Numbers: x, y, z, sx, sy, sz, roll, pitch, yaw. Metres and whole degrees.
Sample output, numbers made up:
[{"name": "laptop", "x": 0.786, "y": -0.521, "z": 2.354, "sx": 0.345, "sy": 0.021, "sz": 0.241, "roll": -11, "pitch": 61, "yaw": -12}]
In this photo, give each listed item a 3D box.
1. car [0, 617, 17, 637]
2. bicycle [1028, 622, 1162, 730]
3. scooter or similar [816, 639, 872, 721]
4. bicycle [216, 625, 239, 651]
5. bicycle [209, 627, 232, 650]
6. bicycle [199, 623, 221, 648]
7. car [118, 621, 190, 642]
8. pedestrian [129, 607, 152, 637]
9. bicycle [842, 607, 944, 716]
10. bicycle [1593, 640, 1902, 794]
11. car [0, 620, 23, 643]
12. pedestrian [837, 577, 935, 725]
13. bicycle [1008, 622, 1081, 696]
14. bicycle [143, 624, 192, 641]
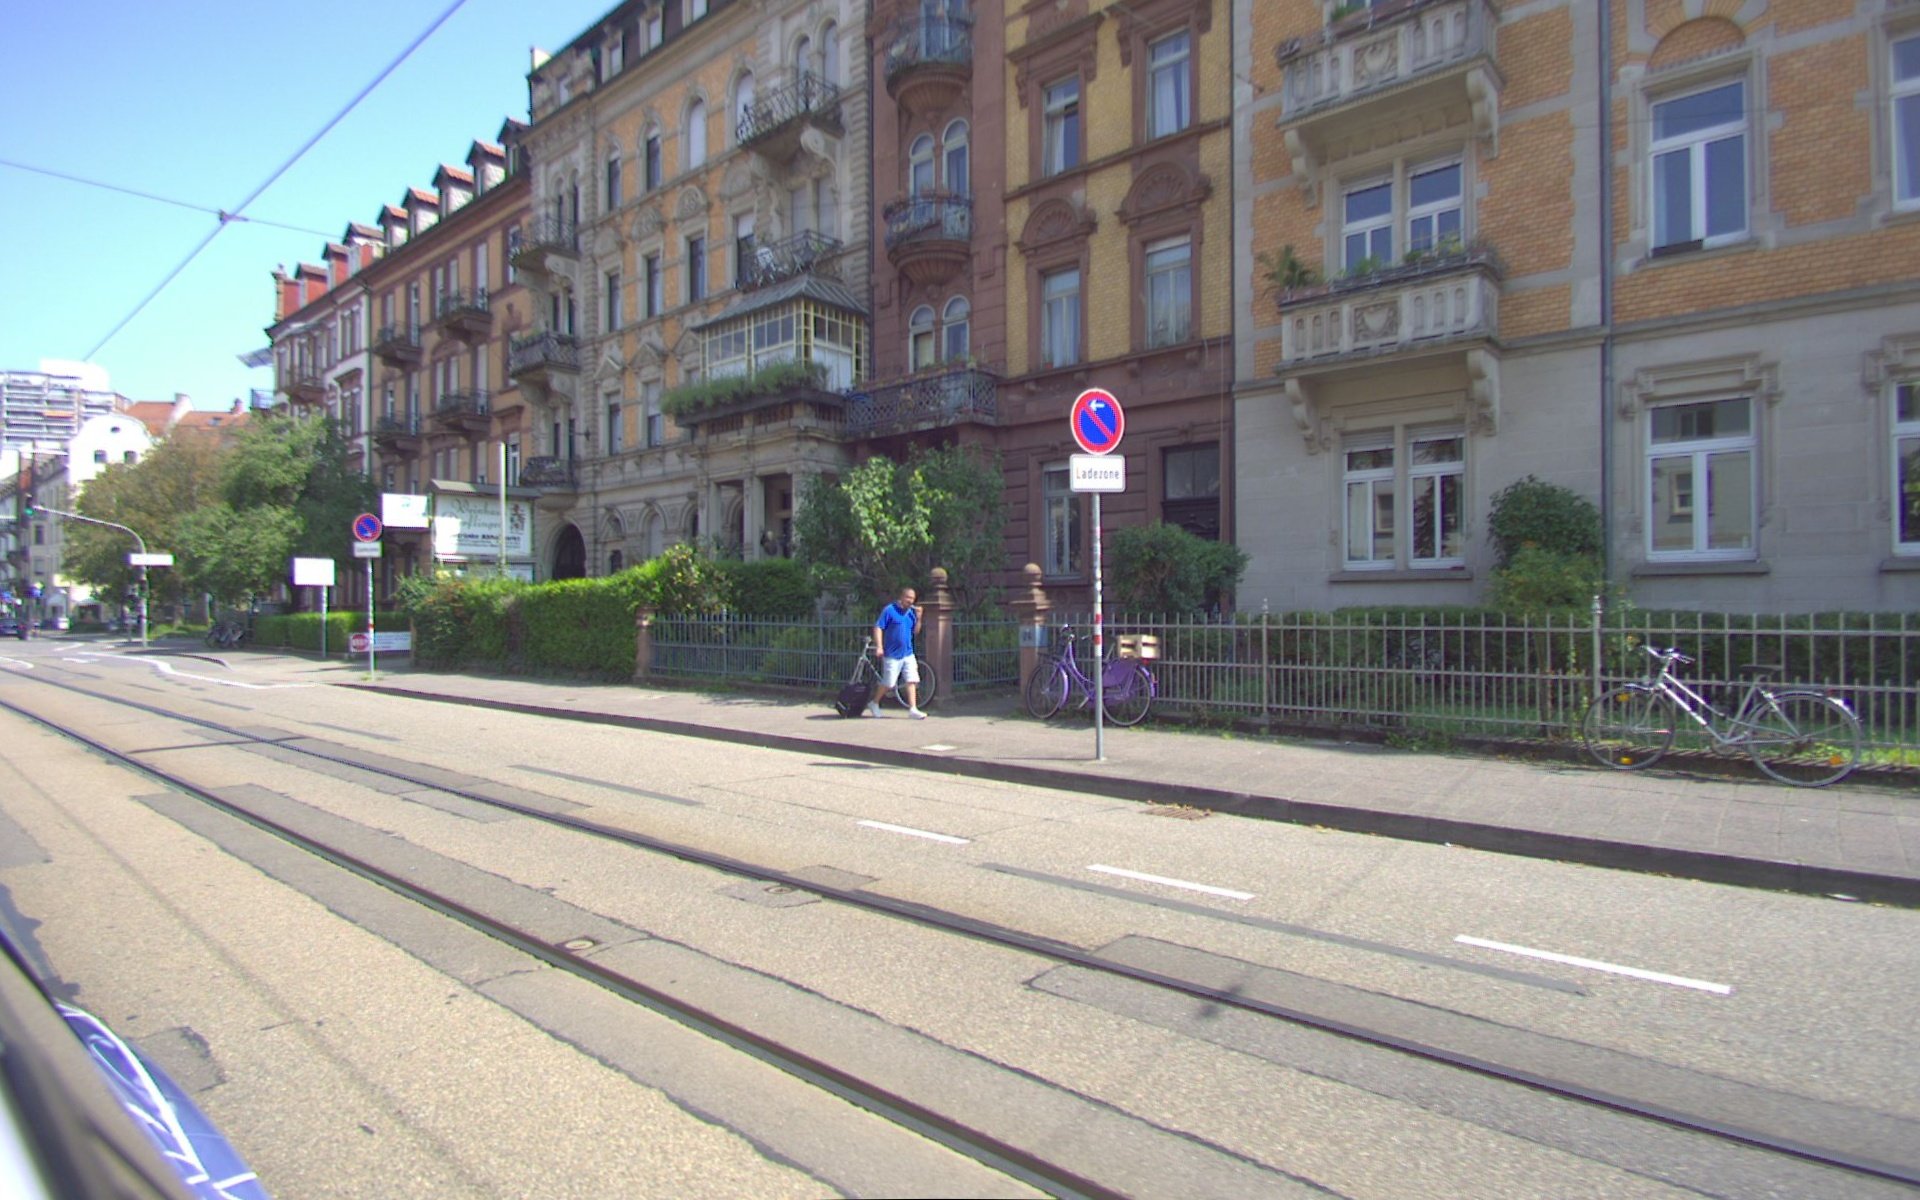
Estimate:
[{"name": "car", "x": -85.796, "y": 2.380, "z": 90.337, "sx": 4.629, "sy": 1.739, "sz": 1.972, "roll": -1, "pitch": -2, "yaw": 42}, {"name": "bicycle", "x": 1.520, "y": 0.835, "z": 11.605, "sx": 1.581, "sy": 1.156, "sz": 0.386, "roll": -1, "pitch": -1, "yaw": 42}, {"name": "scooter or similar", "x": -1.480, "y": 1.006, "z": 12.903, "sx": 0.583, "sy": 0.990, "sz": 0.397, "roll": -1, "pitch": 0, "yaw": 33}, {"name": "bicycle", "x": -29.045, "y": 1.485, "z": 40.126, "sx": 1.657, "sy": 0.994, "sz": 0.482, "roll": -1, "pitch": -1, "yaw": 44}, {"name": "bicycle", "x": -30.228, "y": 1.566, "z": 41.380, "sx": 1.657, "sy": 0.949, "sz": 0.482, "roll": -1, "pitch": -1, "yaw": 44}, {"name": "bicycle", "x": -32.230, "y": 1.507, "z": 43.475, "sx": 1.778, "sy": 1.029, "sz": 0.482, "roll": -1, "pitch": -1, "yaw": 44}, {"name": "car", "x": -71.034, "y": 2.782, "z": 89.222, "sx": 4.560, "sy": 1.739, "sz": 2.002, "roll": 0, "pitch": -2, "yaw": -5}, {"name": "pedestrian", "x": -57.939, "y": 1.539, "z": 71.519, "sx": 1.036, "sy": 2.029, "sz": 1.080, "roll": -1, "pitch": 0, "yaw": 41}, {"name": "bicycle", "x": -0.937, "y": 0.809, "z": 13.803, "sx": 1.581, "sy": 1.416, "sz": 0.386, "roll": -1, "pitch": -1, "yaw": 42}, {"name": "bicycle", "x": 5.985, "y": 0.842, "z": 7.796, "sx": 1.833, "sy": 1.046, "sz": 0.386, "roll": -1, "pitch": -1, "yaw": 42}, {"name": "car", "x": -62.018, "y": 2.019, "z": 65.571, "sx": 4.178, "sy": 1.444, "sz": 1.707, "roll": -1, "pitch": -1, "yaw": 44}, {"name": "pedestrian", "x": -0.930, "y": 0.617, "z": 12.751, "sx": 0.870, "sy": 1.769, "sz": 0.874, "roll": -1, "pitch": -1, "yaw": 41}, {"name": "bicycle", "x": 1.285, "y": 0.859, "z": 15.192, "sx": 0.391, "sy": 1.040, "sz": 1.385, "roll": -1, "pitch": -1, "yaw": 38}, {"name": "bicycle", "x": -67.749, "y": 2.773, "z": 86.539, "sx": 3.441, "sy": 1.447, "sz": 1.221, "roll": -1, "pitch": -1, "yaw": 5}]
